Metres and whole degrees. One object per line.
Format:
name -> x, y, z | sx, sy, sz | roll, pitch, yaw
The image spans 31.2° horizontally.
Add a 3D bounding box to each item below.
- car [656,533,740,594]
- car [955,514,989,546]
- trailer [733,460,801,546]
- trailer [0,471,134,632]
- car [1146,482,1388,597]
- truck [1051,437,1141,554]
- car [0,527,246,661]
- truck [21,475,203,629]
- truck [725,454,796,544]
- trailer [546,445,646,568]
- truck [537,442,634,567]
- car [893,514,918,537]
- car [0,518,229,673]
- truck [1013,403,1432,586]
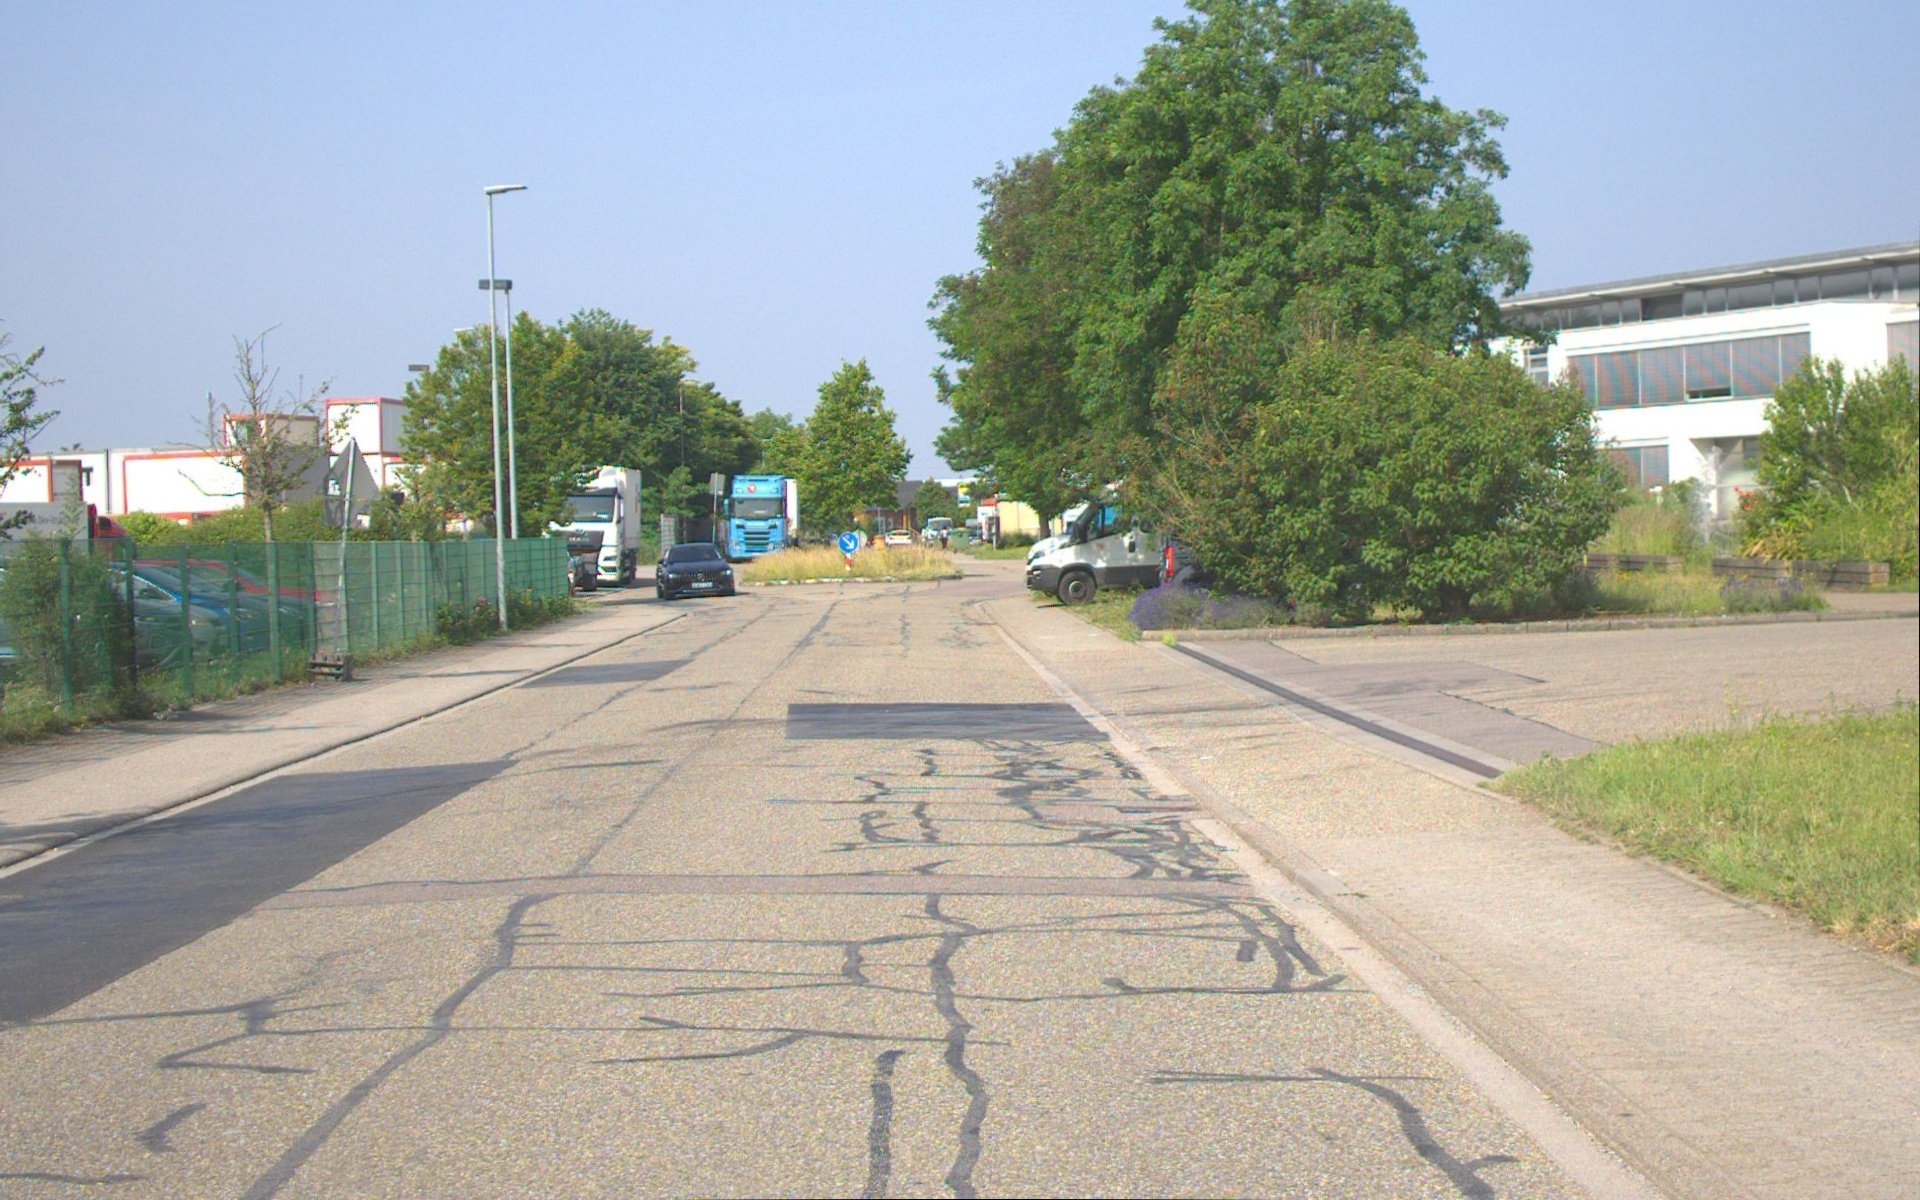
car -> -6.927, -0.997, 91.249 | 1.993, 1.444, 4.420 | -4, 1, -2
car -> 0.670, -3.972, 195.250 | 1.792, 1.744, 4.000 | 0, 0, -2
trailer -> -9.168, -4.543, 164.174 | 2.831, 3.829, 12.037 | 0, 0, -1
trailer -> -25.177, -1.218, 85.927 | 2.483, 4.028, 13.879 | 0, 0, 15
car -> 5.301, -1.062, 59.826 | 3.987, 1.831, 2.000 | -2, 1, 1
truck -> 4.872, -3.741, 123.706 | 2.746, 3.968, 4.000 | -4, 1, -1
car -> -10.871, -0.050, 41.589 | 4.040, 1.439, 1.874 | -3, 1, -1
truck -> -23.102, -1.291, 93.905 | 2.514, 4.057, 5.540 | 0, 0, 14
truck -> -8.903, -4.471, 154.346 | 2.825, 3.812, 9.673 | 0, 0, -1
trailer -> -12.037, -3.046, 114.142 | 2.699, 3.908, 7.576 | 0, 0, -2
truck -> -11.931, -3.012, 109.848 | 2.708, 3.908, 4.297 | 0, 0, -2
car -> -3.962, -5.371, 248.478 | 1.718, 1.655, 3.824 | 0, 0, -3
car -> -10.402, -0.011, 38.166 | 4.127, 1.562, 1.865 | -3, 1, -1
truck -> 5.306, -2.134, 70.451 | 8.208, 3.358, 2.741 | -2, 0, -2
